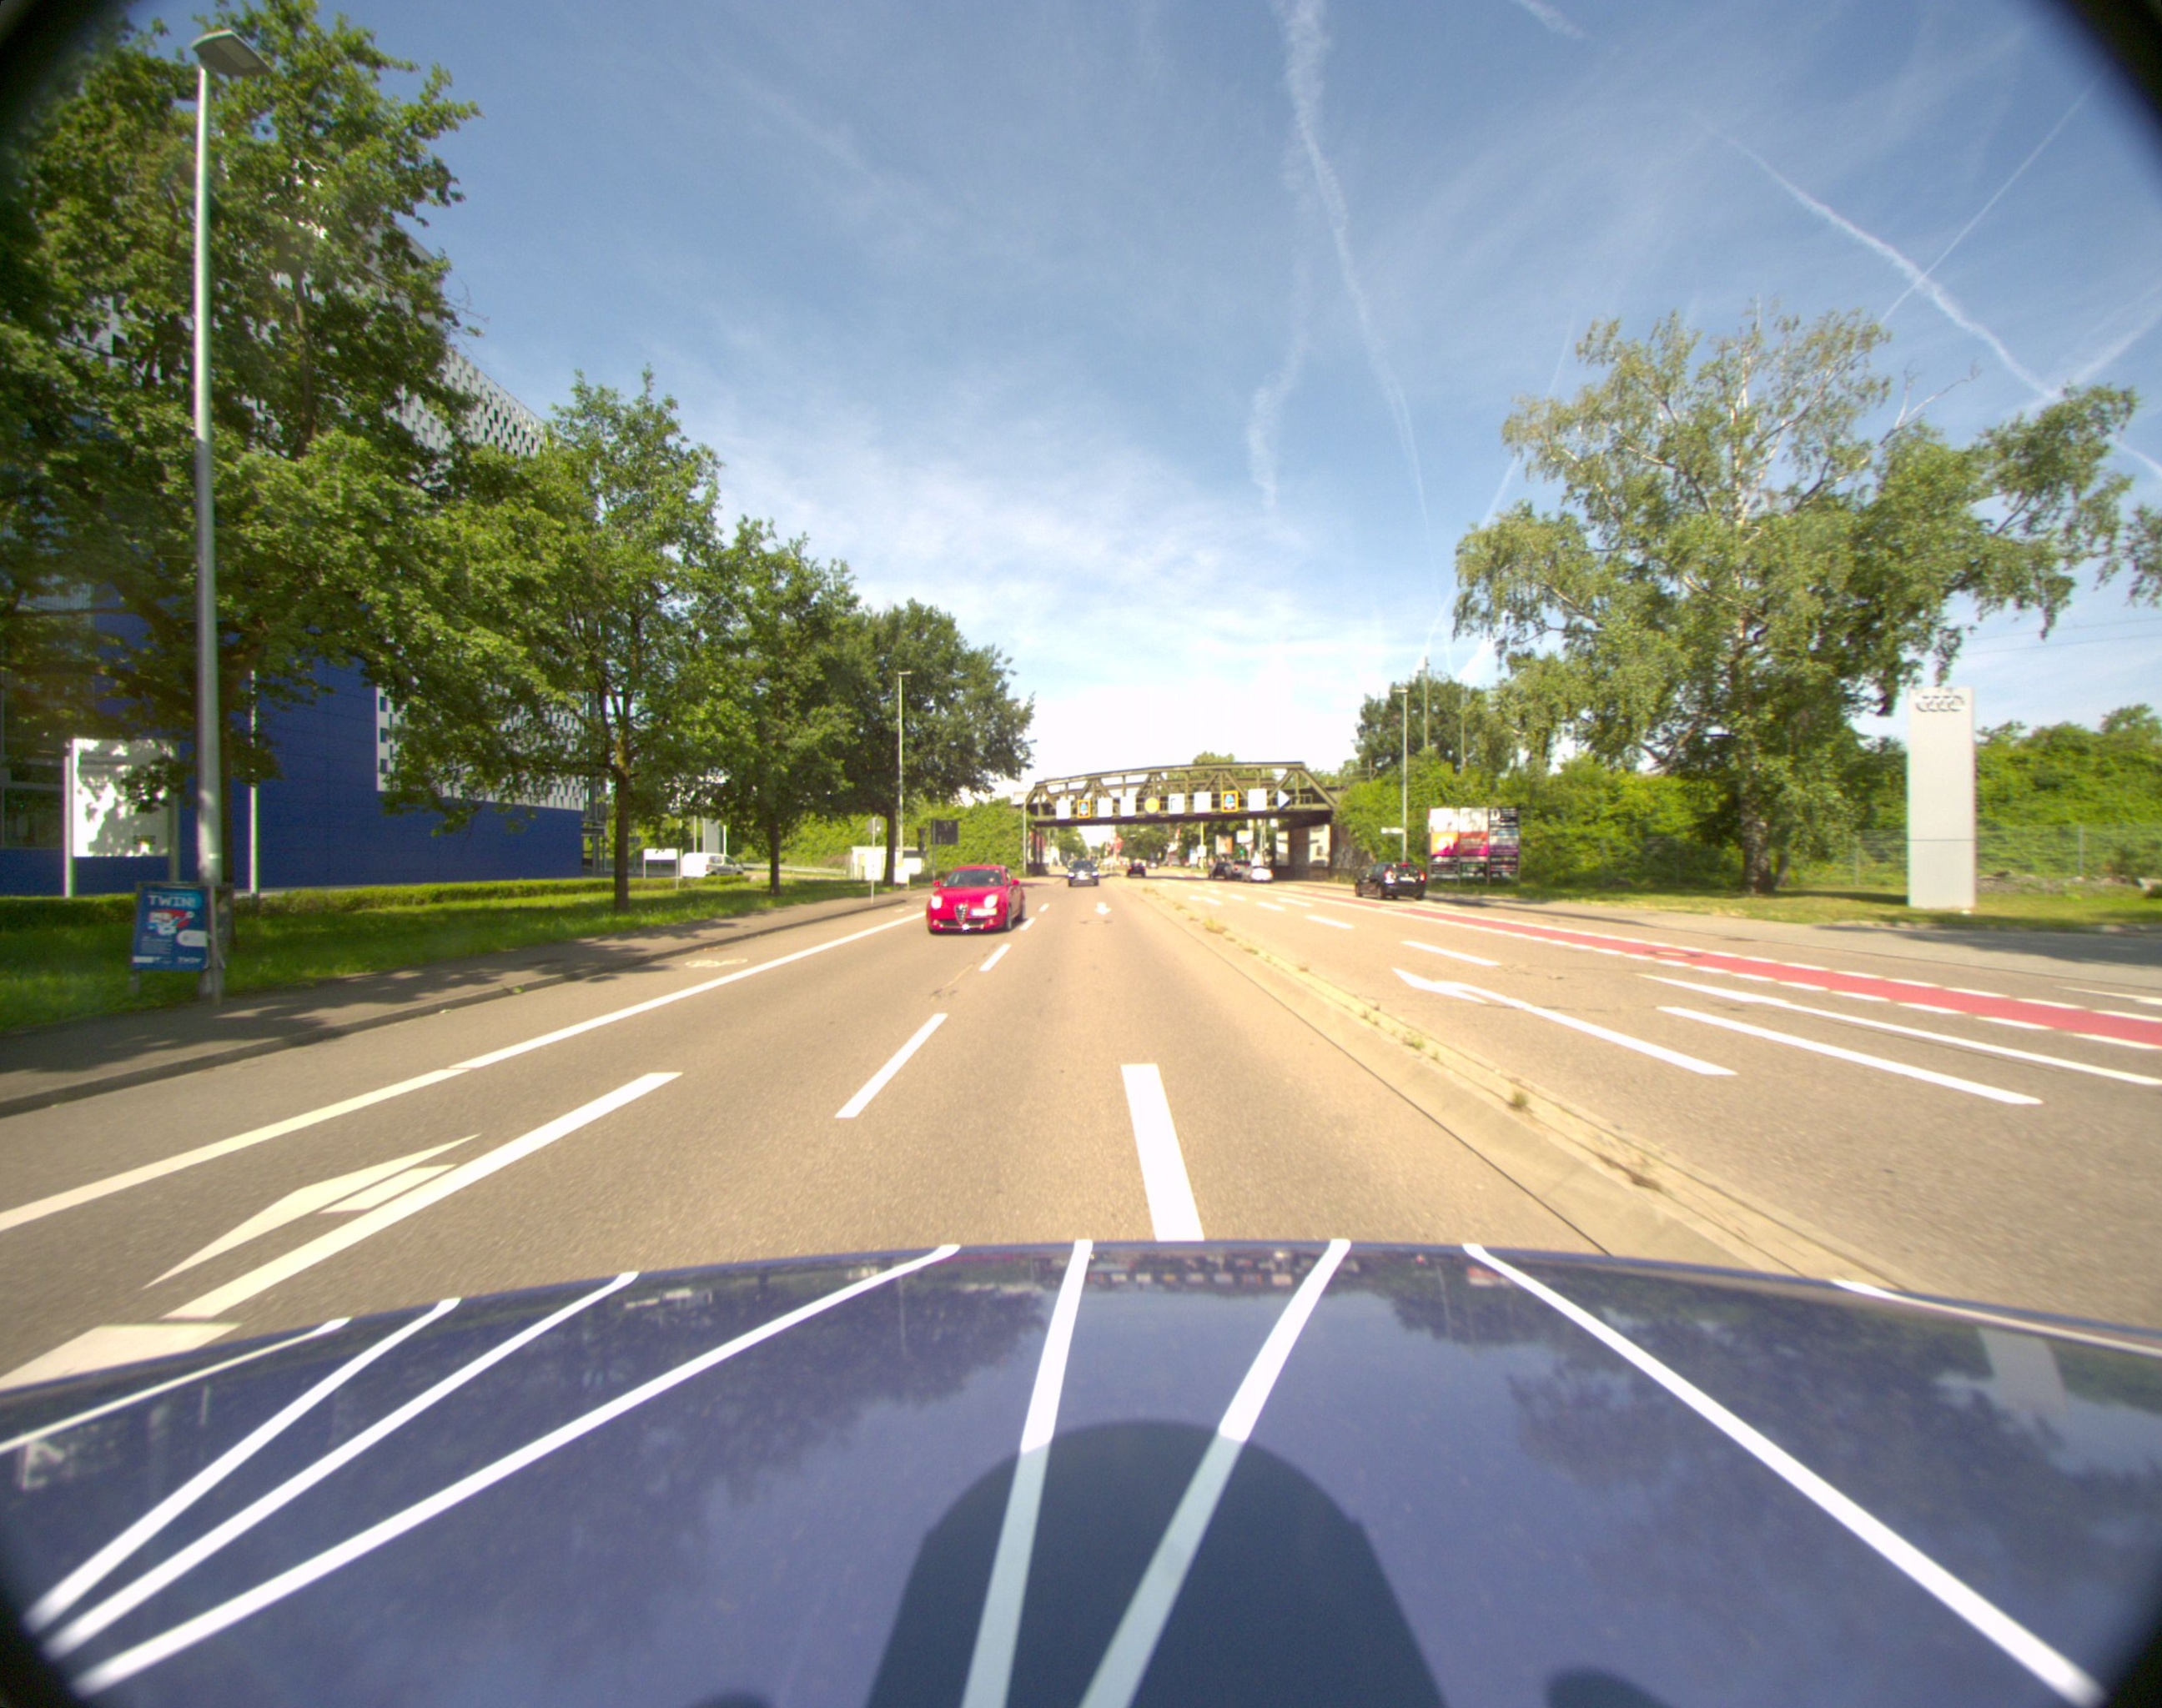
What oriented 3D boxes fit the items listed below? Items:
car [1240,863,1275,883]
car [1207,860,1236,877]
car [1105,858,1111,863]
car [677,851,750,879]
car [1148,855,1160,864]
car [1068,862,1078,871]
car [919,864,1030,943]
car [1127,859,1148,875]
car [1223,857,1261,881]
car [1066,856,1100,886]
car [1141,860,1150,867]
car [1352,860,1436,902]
[{"bbox_3d":[13.133,1.373,56.714,1.639,1.379,4.318,1,0,1],"label":"car"},{"bbox_3d":[13.238,1.360,71.761,1.877,1.586,4.387,0,0,0],"label":"car"},{"bbox_3d":[9.233,2.308,257.997,1.927,1.507,3.824,-2,0,-2],"label":"car"},{"bbox_3d":[-22.349,0.634,46.420,1.854,1.629,4.307,-2,0,8],"label":"car"},{"bbox_3d":[14.458,1.024,150.978,1.824,1.711,3.636,-2,0,-2],"label":"car"},{"bbox_3d":[-1.472,2.195,136.682,1.824,1.569,4.246,1,0,0],"label":"car"},{"bbox_3d":[-2.269,1.017,17.208,1.798,1.446,3.979,-1,1,2],"label":"car"},{"bbox_3d":[5.637,1.289,76.322,1.785,1.438,4.120,0,0,1],"label":"car"},{"bbox_3d":[13.404,1.181,63.609,1.998,1.850,5.451,2,0,0],"label":"car"},{"bbox_3d":[0.164,0.961,45.097,1.824,1.632,4.112,-2,0,1],"label":"car"},{"bbox_3d":[15.121,2.209,178.296,1.824,1.711,3.636,-2,0,-2],"label":"car"},{"bbox_3d":[12.443,1.039,30.495,1.702,1.510,4.027,1,0,0],"label":"car"}]
